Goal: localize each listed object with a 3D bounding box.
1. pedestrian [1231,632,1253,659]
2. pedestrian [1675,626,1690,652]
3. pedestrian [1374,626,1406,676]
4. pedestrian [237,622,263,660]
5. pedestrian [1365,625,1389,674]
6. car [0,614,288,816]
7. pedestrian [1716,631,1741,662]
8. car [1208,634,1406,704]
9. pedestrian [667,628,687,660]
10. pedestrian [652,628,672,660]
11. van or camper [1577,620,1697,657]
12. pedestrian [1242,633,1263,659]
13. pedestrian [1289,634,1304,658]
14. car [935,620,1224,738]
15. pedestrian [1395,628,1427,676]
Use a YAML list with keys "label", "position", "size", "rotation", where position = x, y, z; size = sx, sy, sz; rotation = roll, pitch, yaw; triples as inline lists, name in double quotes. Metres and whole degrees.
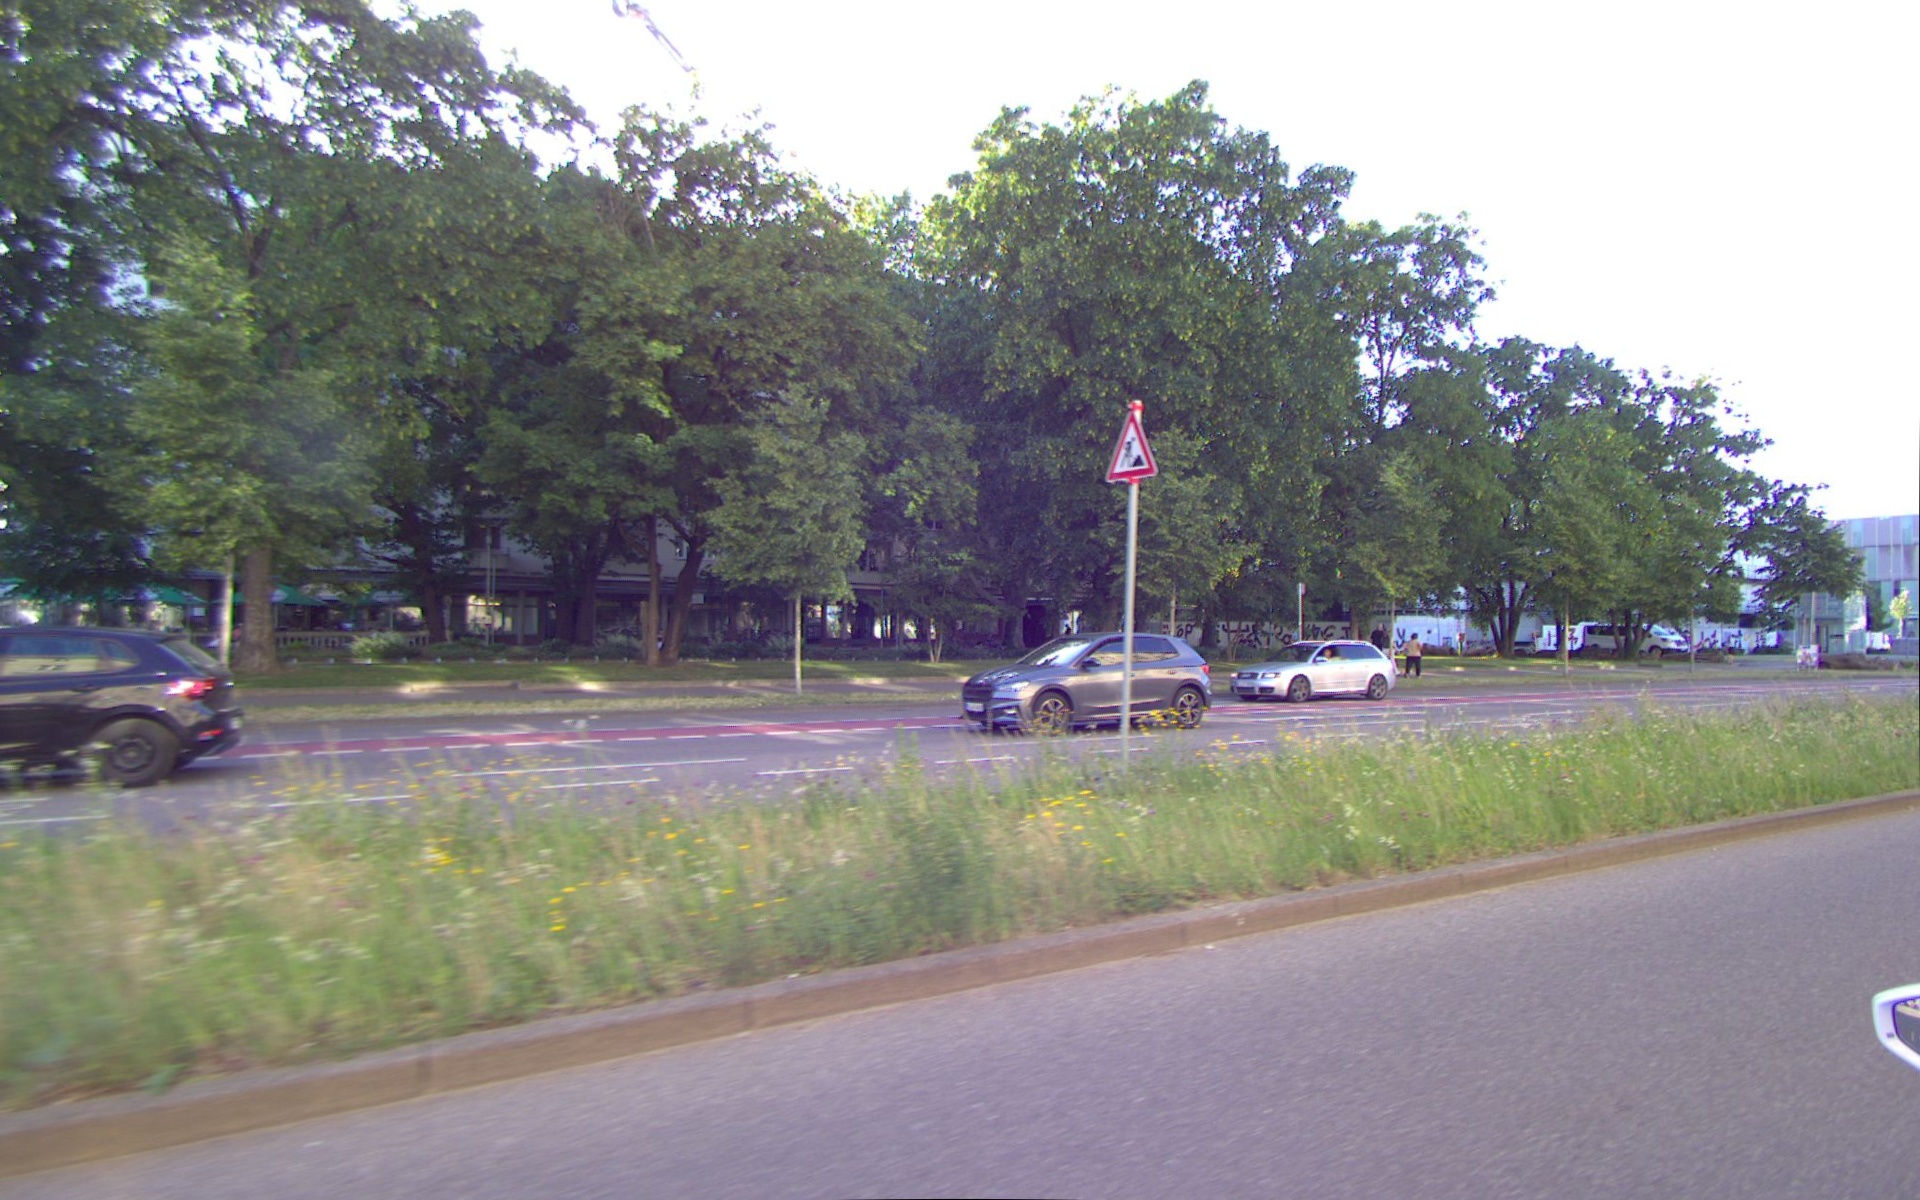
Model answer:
- label: "pedestrian"
  position: [16.884, 2.734, 60.184]
  size: [0.886, 1.560, 0.896]
  rotation: [2, -2, -36]
- label: "pedestrian"
  position: [48.786, 2.646, 67.816]
  size: [0.826, 1.711, 0.576]
  rotation: [1, -1, -31]
- label: "pedestrian"
  position: [15.368, 1.799, 35.895]
  size: [0.750, 1.763, 0.769]
  rotation: [1, -1, -25]
- label: "pedestrian"
  position: [-25.414, 1.458, 35.958]
  size: [0.591, 1.357, 0.729]
  rotation: [1, -1, -26]
- label: "pedestrian"
  position: [15.193, 1.785, 36.582]
  size: [0.646, 1.763, 0.522]
  rotation: [1, -1, -25]
- label: "car"
  position: [-8.946, 0.977, 9.127]
  size: [4.493, 1.697, 1.985]
  rotation: [2, -2, -29]
- label: "pedestrian"
  position: [38.517, 2.309, 50.370]
  size: [0.929, 1.548, 0.611]
  rotation: [1, -1, -24]
- label: "car"
  position: [8.389, 1.619, 24.210]
  size: [4.528, 1.546, 1.927]
  rotation: [2, -2, -27]
- label: "pedestrian"
  position: [-12.274, 1.917, 43.535]
  size: [0.706, 1.357, 0.824]
  rotation: [1, -1, -26]
- label: "pedestrian"
  position: [-12.801, 1.892, 43.132]
  size: [0.656, 1.357, 0.903]
  rotation: [1, -1, -25]
- label: "van or camper"
  position: [40.763, 2.338, 60.641]
  size: [2.229, 2.040, 5.643]
  rotation: [3, -3, -27]
- label: "pedestrian"
  position: [17.685, 2.789, 60.714]
  size: [0.886, 1.560, 0.896]
  rotation: [2, -2, -36]
- label: "pedestrian"
  position: [23.836, 3.233, 71.119]
  size: [0.734, 1.662, 0.722]
  rotation: [1, -1, -23]
- label: "car"
  position: [1.845, 1.140, 15.399]
  size: [4.011, 1.585, 1.985]
  rotation: [2, -2, -29]
- label: "pedestrian"
  position: [15.784, 1.814, 35.156]
  size: [0.716, 1.662, 0.740]
  rotation: [1, -1, -25]
